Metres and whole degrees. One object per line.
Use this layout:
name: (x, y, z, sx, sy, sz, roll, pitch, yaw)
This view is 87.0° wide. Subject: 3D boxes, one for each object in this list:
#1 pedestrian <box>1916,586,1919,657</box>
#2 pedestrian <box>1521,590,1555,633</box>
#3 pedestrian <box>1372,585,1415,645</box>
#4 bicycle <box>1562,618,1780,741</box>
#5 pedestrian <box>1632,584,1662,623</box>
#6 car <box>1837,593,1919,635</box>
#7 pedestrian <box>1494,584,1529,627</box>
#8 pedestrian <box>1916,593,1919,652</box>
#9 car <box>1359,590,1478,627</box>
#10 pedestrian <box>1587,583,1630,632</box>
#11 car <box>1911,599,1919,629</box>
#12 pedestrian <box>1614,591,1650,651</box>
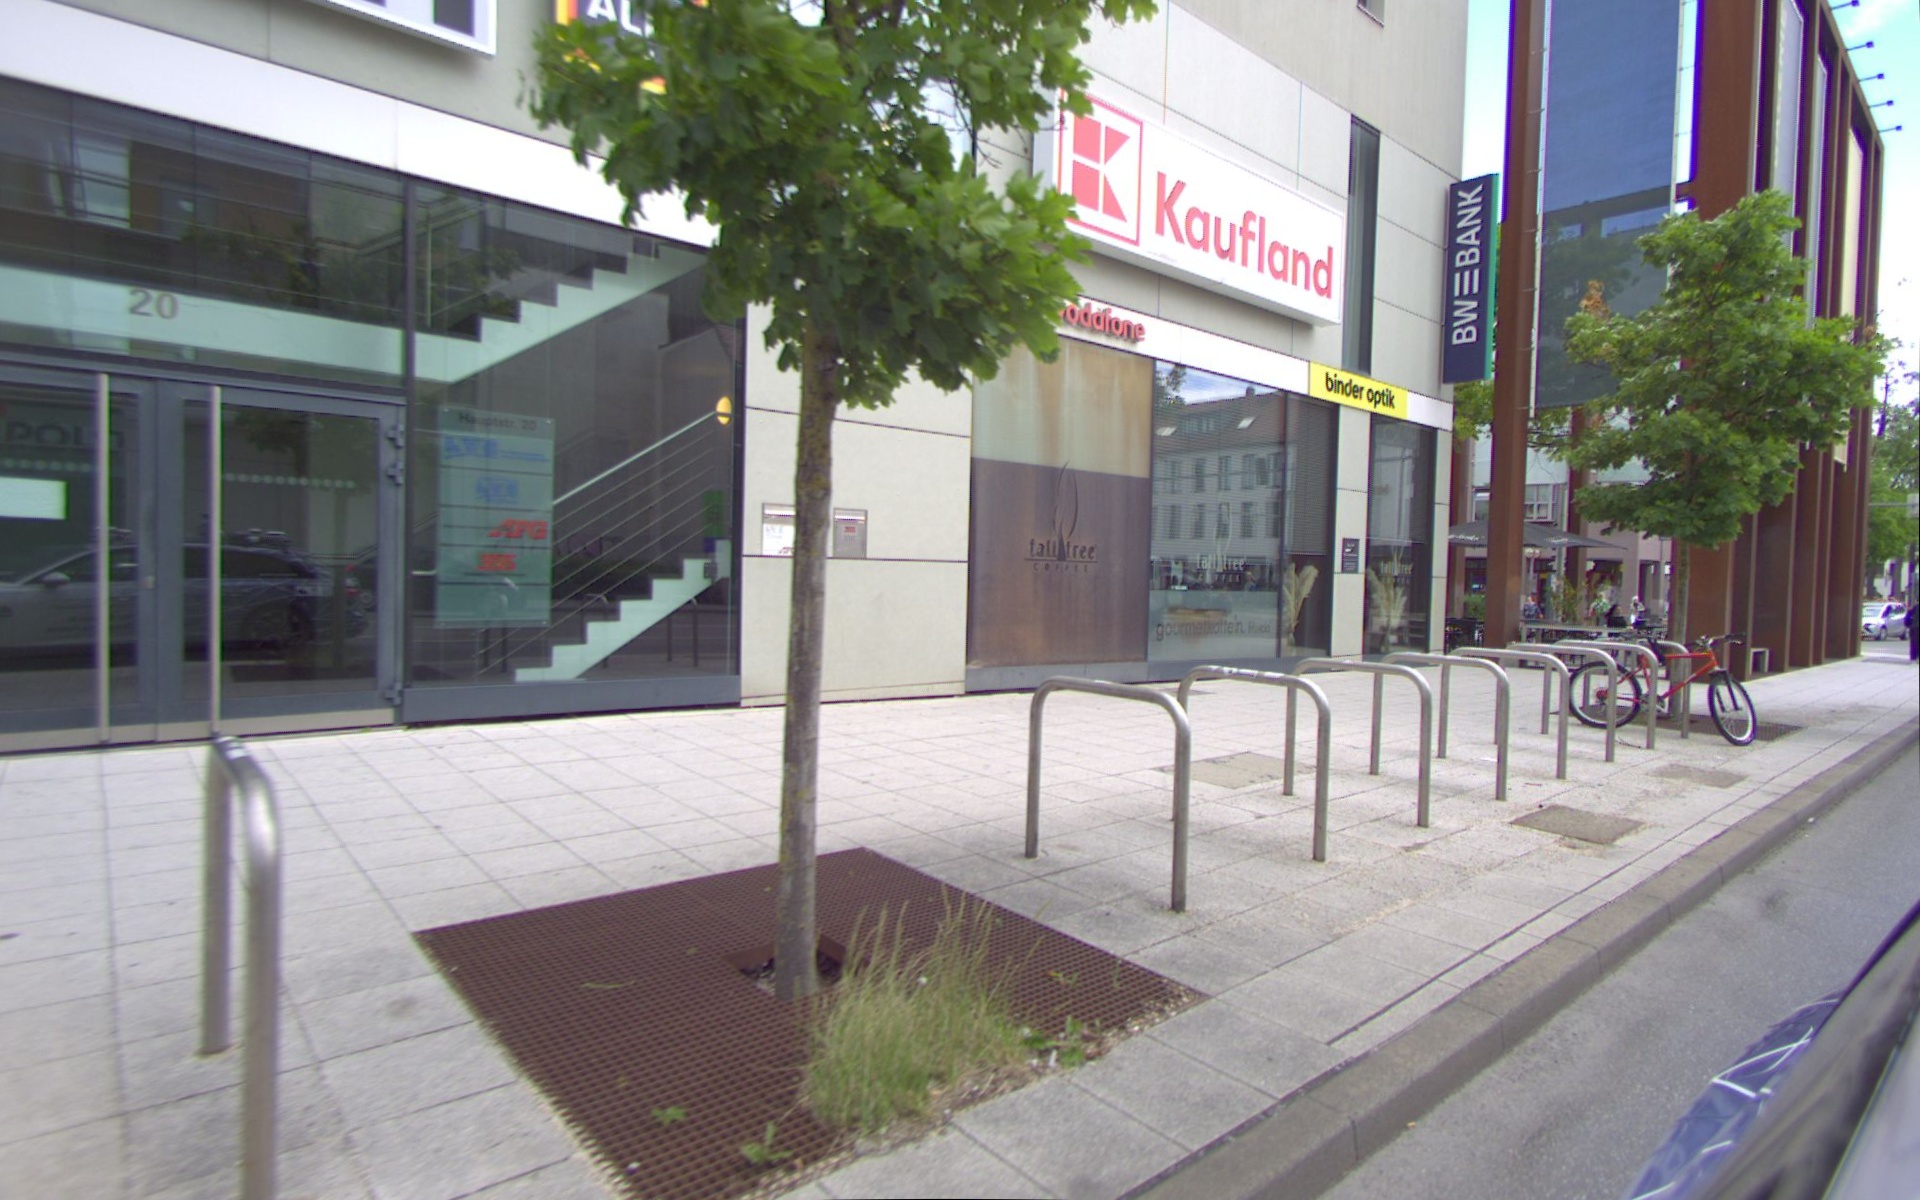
pedestrian: (22.877, 0.522, 23.398, 0.666, 1.667, 0.874, 1, 1, -7)
pedestrian: (21.858, 0.435, 38.278, 0.953, 1.578, 0.831, 0, 1, -42)
pedestrian: (9.017, 0.307, 21.058, 0.782, 1.224, 0.516, 2, 0, -43)
bicycle: (6.821, 0.715, 9.771, 0.738, 1.004, 1.565, 0, 2, -37)
pedestrian: (29.562, 0.139, 43.538, 1.075, 1.646, 0.810, 0, 2, -42)
car: (39.920, 0.587, 43.983, 4.298, 1.722, 1.745, 0, 0, -36)
pedestrian: (21.225, 0.190, 38.957, 1.040, 1.604, 0.831, 0, 1, -40)
pedestrian: (23.627, 0.556, 24.513, 0.572, 1.438, 0.603, 1, 1, -39)
car: (19.012, 0.312, 42.103, 1.770, 1.422, 4.177, 0, 1, -43)
pedestrian: (23.716, 0.258, 37.023, 1.091, 1.737, 1.057, 0, 0, -42)
car: (49.046, 0.690, 50.748, 3.578, 1.467, 1.629, 0, 0, -41)
pedestrian: (14.306, 0.434, 21.533, 0.595, 1.235, 0.449, 0, 1, -37)
